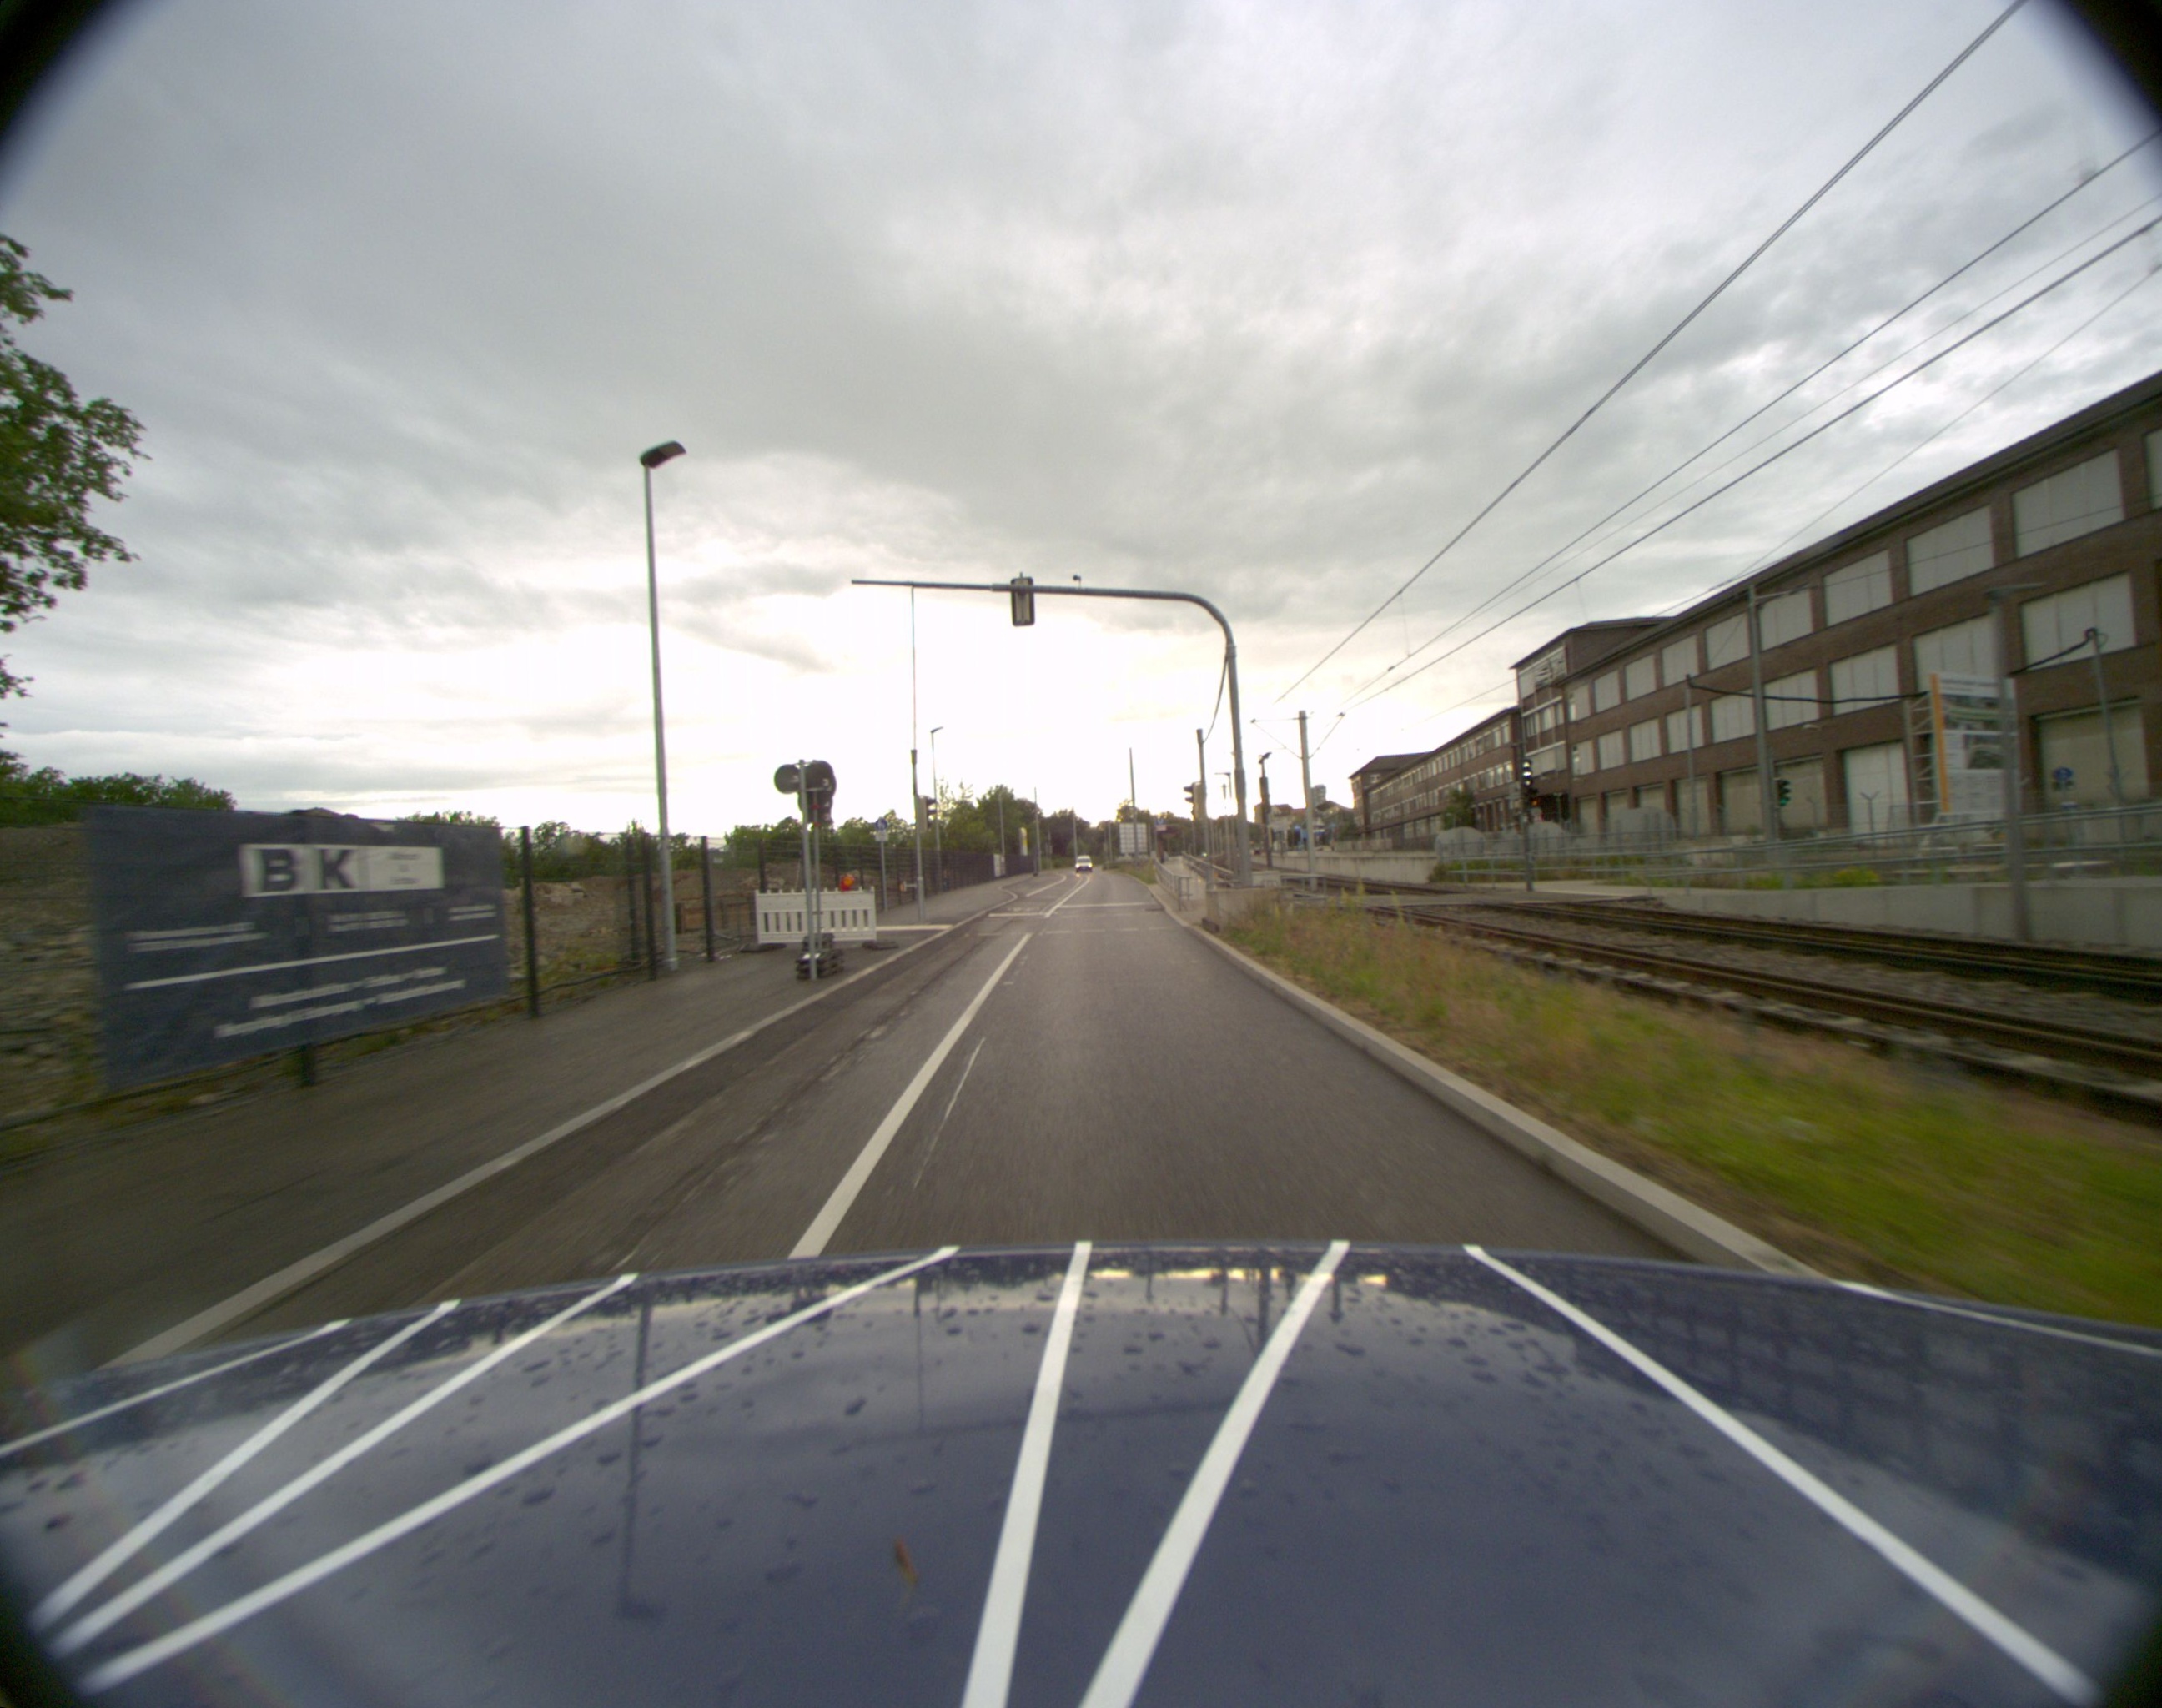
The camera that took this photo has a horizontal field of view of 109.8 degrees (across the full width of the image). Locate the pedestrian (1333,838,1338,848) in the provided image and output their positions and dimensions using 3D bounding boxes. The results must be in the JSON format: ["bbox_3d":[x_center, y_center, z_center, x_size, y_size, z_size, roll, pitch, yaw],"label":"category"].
[{"bbox_3d":[48.237,-2.097,143.869,0.581,2.002,0.728,-2,1,-26],"label":"pedestrian"}]

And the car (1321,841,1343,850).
[{"bbox_3d":[59.519,-1.966,180.246,4.573,1.750,2.002,-3,0,11],"label":"car"}]

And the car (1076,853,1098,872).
[{"bbox_3d":[0.635,0.907,85.385,1.999,2.002,3.997,-1,1,-5],"label":"car"}]
